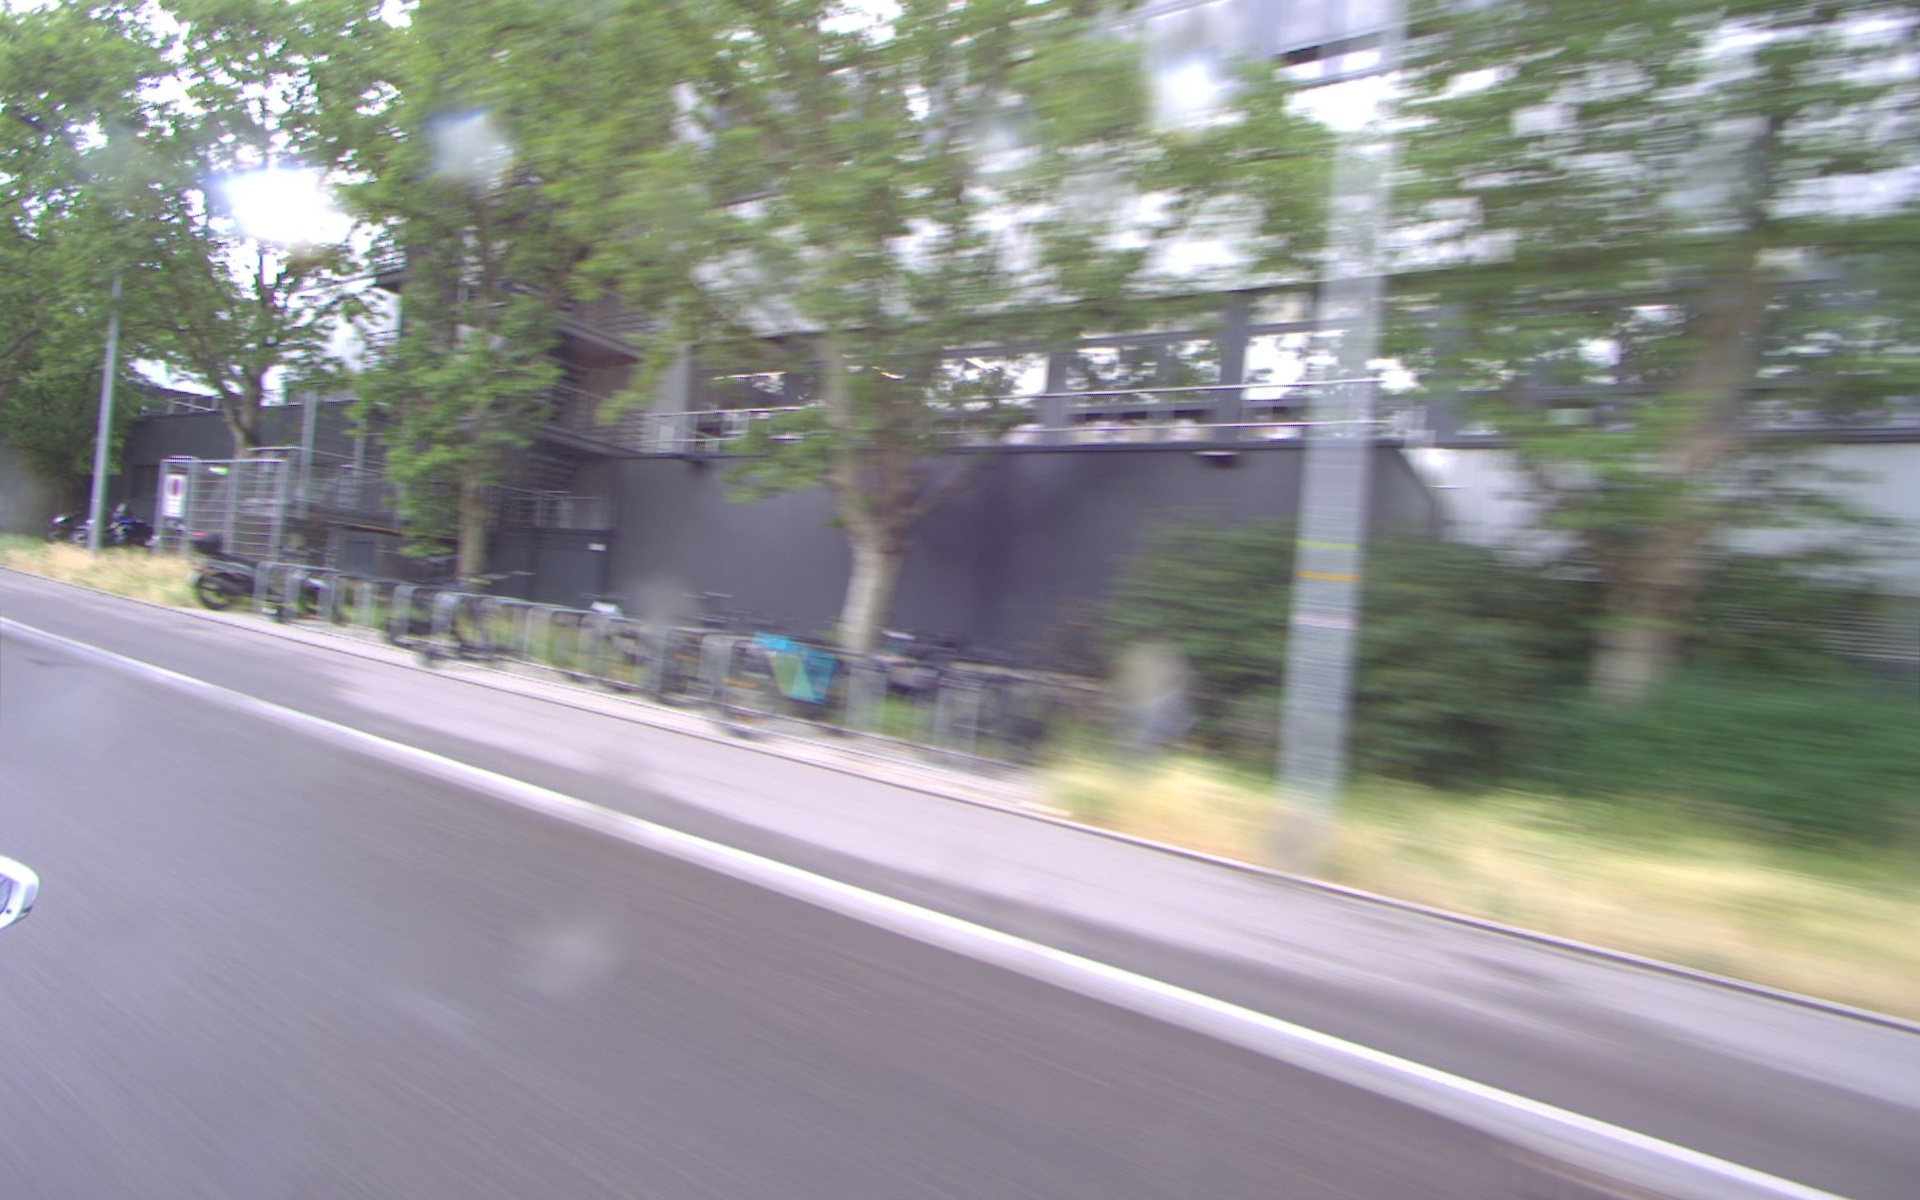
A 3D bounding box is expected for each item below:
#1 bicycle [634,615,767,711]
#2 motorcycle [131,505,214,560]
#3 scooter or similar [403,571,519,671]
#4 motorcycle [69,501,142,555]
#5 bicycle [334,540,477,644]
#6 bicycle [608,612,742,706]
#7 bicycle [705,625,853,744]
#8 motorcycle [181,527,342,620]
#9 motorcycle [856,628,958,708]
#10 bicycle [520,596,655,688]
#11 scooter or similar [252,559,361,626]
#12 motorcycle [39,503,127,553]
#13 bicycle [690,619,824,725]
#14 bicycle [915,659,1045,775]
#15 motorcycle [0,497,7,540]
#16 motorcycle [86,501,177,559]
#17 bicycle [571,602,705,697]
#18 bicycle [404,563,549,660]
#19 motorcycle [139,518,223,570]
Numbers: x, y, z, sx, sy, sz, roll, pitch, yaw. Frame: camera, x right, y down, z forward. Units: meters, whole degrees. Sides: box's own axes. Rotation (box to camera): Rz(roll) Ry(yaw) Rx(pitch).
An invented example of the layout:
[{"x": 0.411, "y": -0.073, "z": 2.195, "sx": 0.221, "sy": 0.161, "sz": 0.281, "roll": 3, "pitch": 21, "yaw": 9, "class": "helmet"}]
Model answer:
[{"x": -2.880, "y": 0.708, "z": 11.312, "sx": 0.387, "sy": 0.970, "sz": 1.553, "roll": 6, "pitch": 1, "yaw": 31, "class": "bicycle"}, {"x": -20.232, "y": -1.728, "z": 25.854, "sx": 1.861, "sy": 1.159, "sz": 0.478, "roll": 7, "pitch": -1, "yaw": 11, "class": "motorcycle"}, {"x": -5.917, "y": 0.267, "z": 11.985, "sx": 0.307, "sy": 1.105, "sz": 1.215, "roll": 6, "pitch": 1, "yaw": 27, "class": "scooter or similar"}, {"x": -25.920, "y": -2.181, "z": 30.534, "sx": 0.497, "sy": 1.380, "sz": 1.503, "roll": 6, "pitch": -2, "yaw": 26, "class": "motorcycle"}, {"x": -7.847, "y": -0.074, "z": 14.335, "sx": 0.439, "sy": 1.365, "sz": 1.863, "roll": 6, "pitch": 0, "yaw": 19, "class": "bicycle"}, {"x": -3.229, "y": 0.674, "z": 11.523, "sx": 0.387, "sy": 0.970, "sz": 1.553, "roll": 6, "pitch": 1, "yaw": 31, "class": "bicycle"}, {"x": -1.690, "y": 0.793, "z": 9.628, "sx": 0.387, "sy": 1.018, "sz": 1.553, "roll": 6, "pitch": 1, "yaw": 31, "class": "bicycle"}, {"x": -11.122, "y": -0.394, "z": 16.080, "sx": 0.435, "sy": 1.289, "sz": 2.003, "roll": 7, "pitch": 1, "yaw": 43, "class": "motorcycle"}, {"x": -0.733, "y": 0.963, "z": 14.334, "sx": 0.567, "sy": 1.014, "sz": 1.609, "roll": 6, "pitch": 0, "yaw": 31, "class": "motorcycle"}, {"x": -4.487, "y": 0.526, "z": 12.214, "sx": 0.387, "sy": 1.018, "sz": 1.553, "roll": 6, "pitch": 1, "yaw": 31, "class": "bicycle"}, {"x": -9.953, "y": -0.089, "z": 15.382, "sx": 0.359, "sy": 0.948, "sz": 1.478, "roll": 6, "pitch": 0, "yaw": 14, "class": "scooter or similar"}, {"x": -27.641, "y": -2.256, "z": 31.739, "sx": 0.484, "sy": 1.272, "sz": 1.915, "roll": 6, "pitch": -2, "yaw": 37, "class": "motorcycle"}, {"x": -2.140, "y": 0.763, "z": 10.787, "sx": 0.387, "sy": 1.018, "sz": 1.553, "roll": 6, "pitch": 1, "yaw": 31, "class": "bicycle"}, {"x": 0.227, "y": 1.052, "z": 9.400, "sx": 0.381, "sy": 0.951, "sz": 1.609, "roll": 6, "pitch": 0, "yaw": 31, "class": "bicycle"}, {"x": -26.832, "y": -2.334, "z": 27.034, "sx": 0.486, "sy": 1.163, "sz": 1.653, "roll": 6, "pitch": -2, "yaw": 39, "class": "motorcycle"}, {"x": -24.346, "y": -2.051, "z": 29.601, "sx": 0.497, "sy": 1.380, "sz": 1.934, "roll": 6, "pitch": -2, "yaw": 26, "class": "motorcycle"}, {"x": -3.761, "y": 0.585, "z": 11.859, "sx": 0.387, "sy": 1.018, "sz": 1.553, "roll": 6, "pitch": 1, "yaw": 31, "class": "bicycle"}, {"x": -6.419, "y": 0.183, "z": 13.466, "sx": 0.440, "sy": 1.182, "sz": 1.792, "roll": 6, "pitch": 0, "yaw": 25, "class": "bicycle"}, {"x": -21.107, "y": -1.501, "z": 27.269, "sx": 0.552, "sy": 1.159, "sz": 1.637, "roll": 6, "pitch": -2, "yaw": 42, "class": "motorcycle"}]
